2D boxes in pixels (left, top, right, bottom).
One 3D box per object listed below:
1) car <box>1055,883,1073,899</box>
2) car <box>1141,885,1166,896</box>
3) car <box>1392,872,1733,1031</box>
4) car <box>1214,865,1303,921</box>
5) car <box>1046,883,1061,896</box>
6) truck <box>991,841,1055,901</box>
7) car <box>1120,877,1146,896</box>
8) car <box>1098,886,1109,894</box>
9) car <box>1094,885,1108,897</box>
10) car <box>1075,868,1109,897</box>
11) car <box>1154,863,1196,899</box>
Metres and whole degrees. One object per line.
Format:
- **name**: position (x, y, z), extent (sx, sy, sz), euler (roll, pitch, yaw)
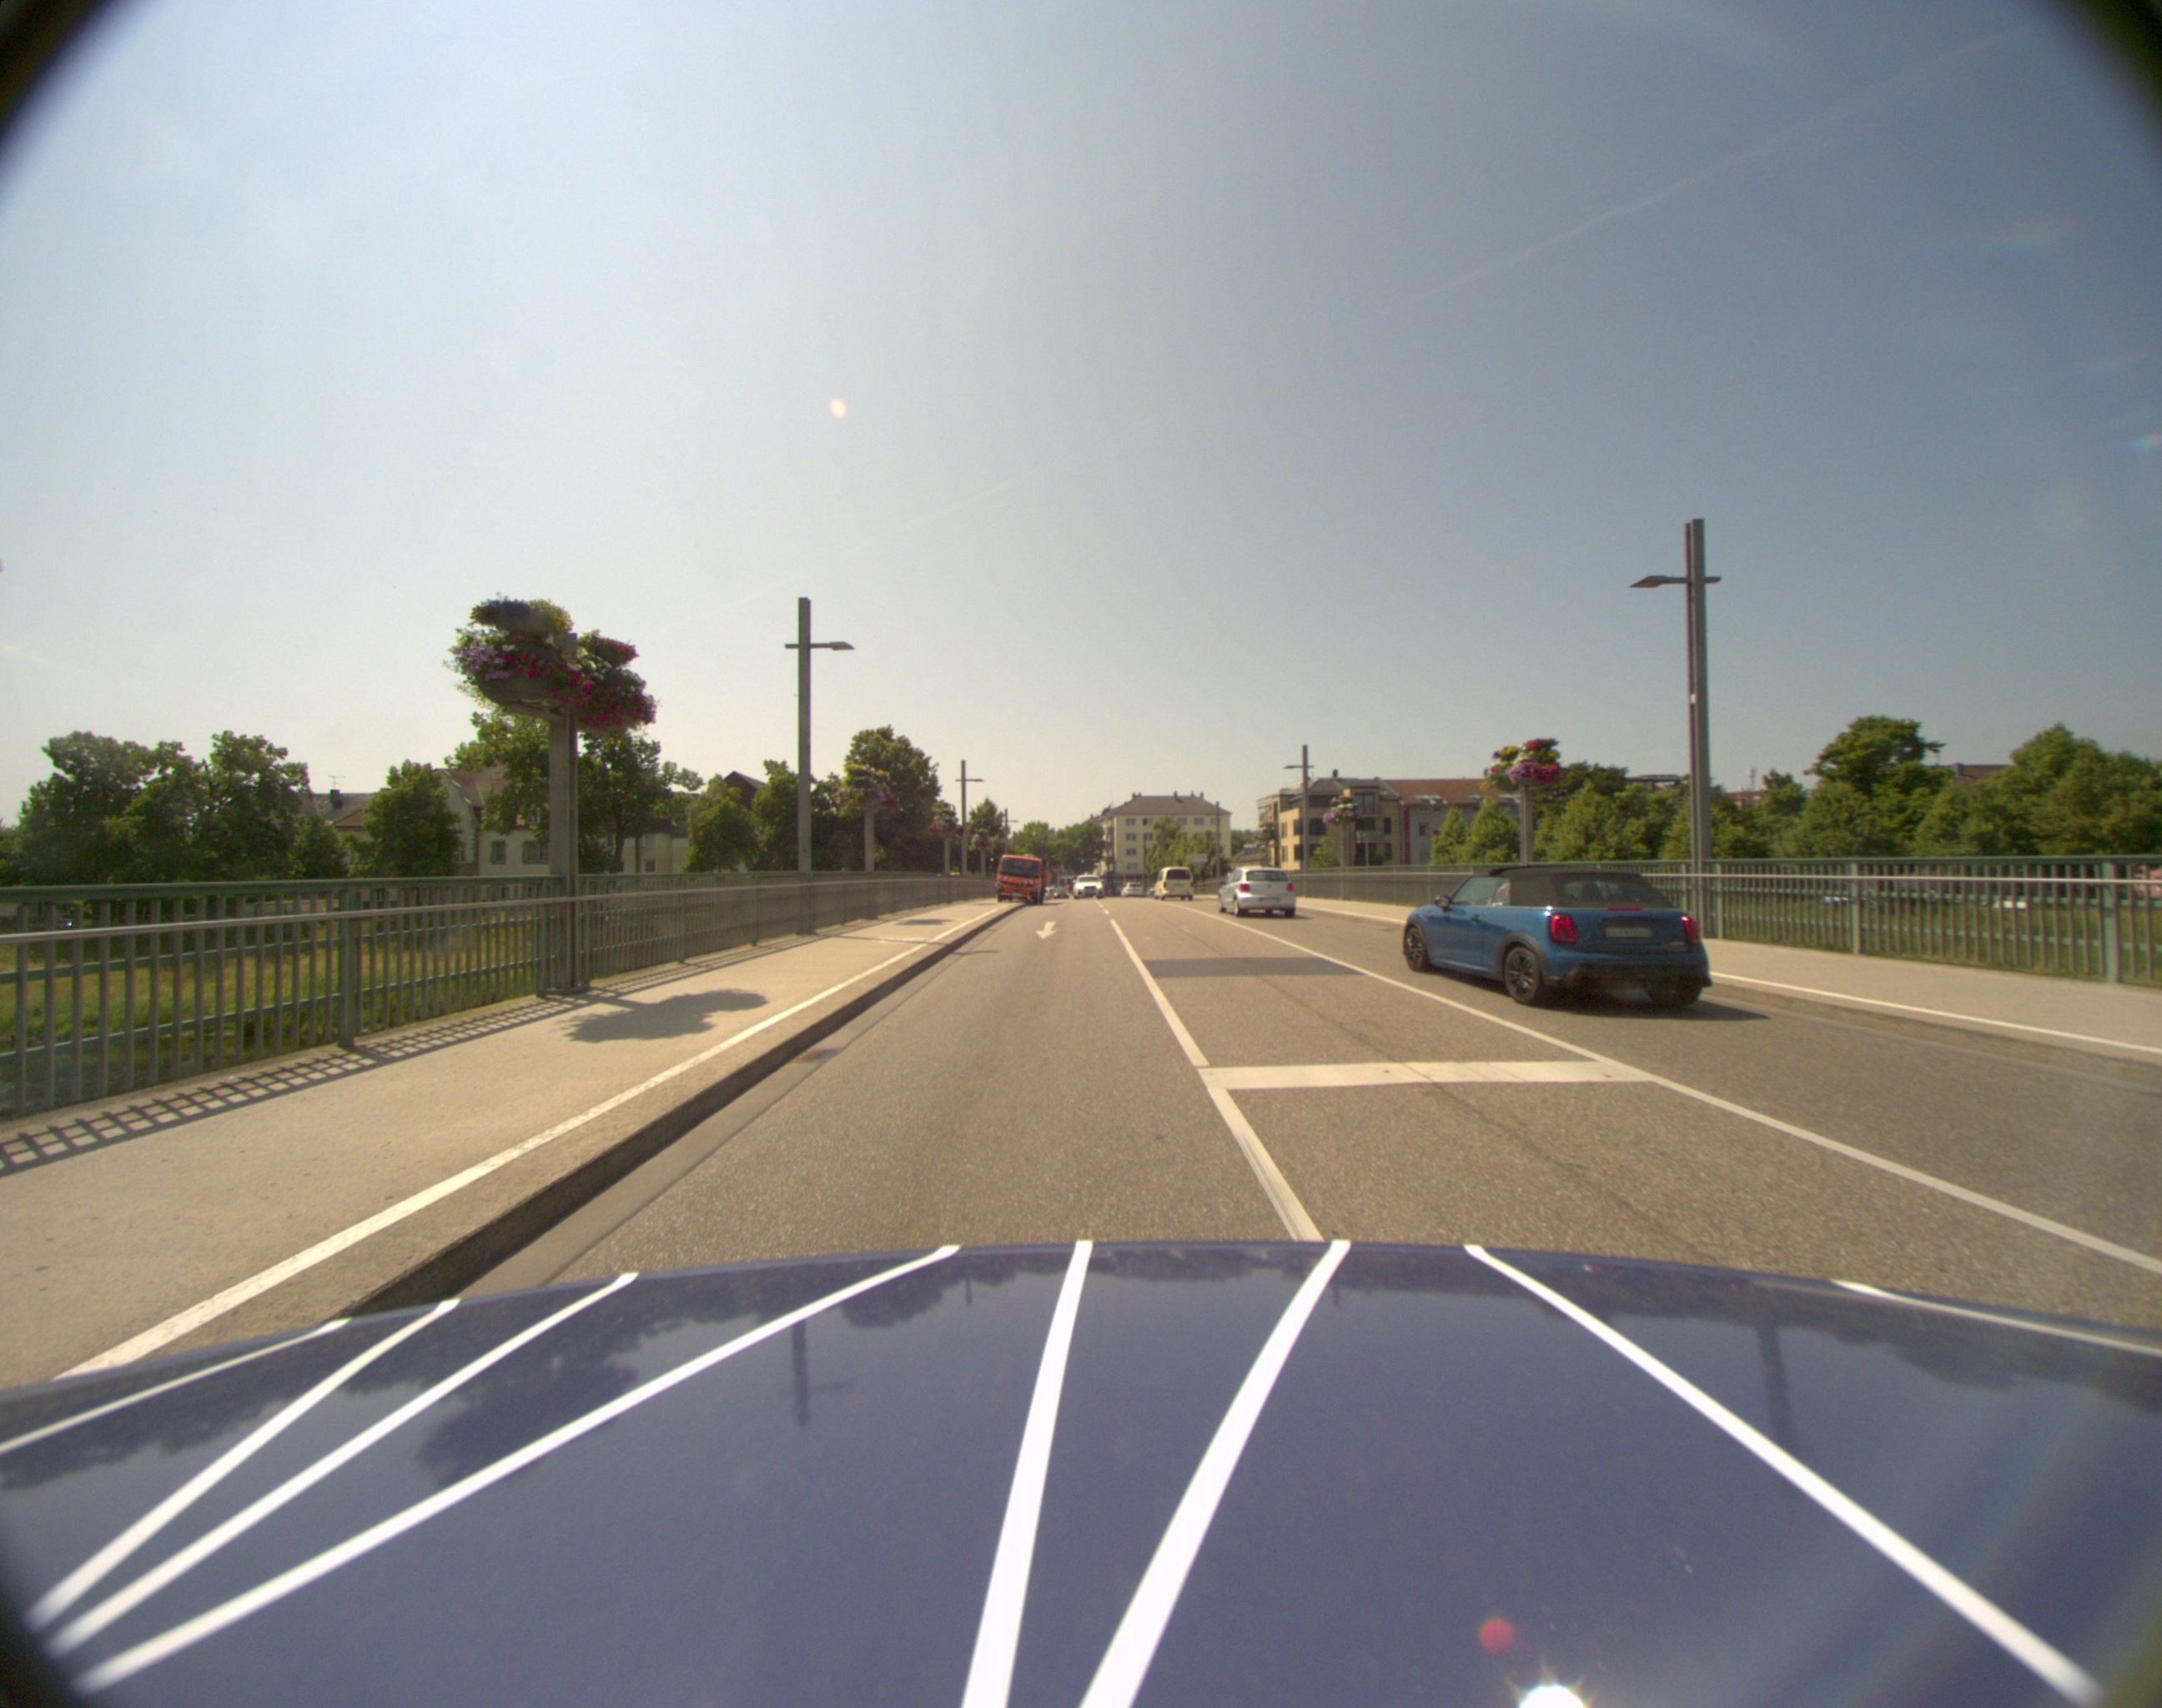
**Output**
- **car**: position (-1.858, 4.004, 82.512), extent (1.776, 1.479, 3.999), euler (-2, 0, -3)
- **car**: position (11.954, 6.070, 125.690), extent (3.698, 1.724, 1.893), euler (2, -1, -10)
- **car**: position (5.261, 0.956, 8.974), extent (1.661, 1.432, 3.756), euler (0, -1, 0)
- **car**: position (5.231, 1.100, 22.867), extent (1.764, 1.510, 4.001), euler (1, -1, 1)
- **car**: position (-4.229, 5.479, 117.341), extent (1.842, 1.848, 4.663), euler (-4, -2, -6)
- **truck**: position (-2.732, 0.878, 37.378), extent (2.612, 2.674, 5.825), euler (-1, -2, 0)
- **car**: position (4.798, 2.963, 70.657), extent (1.849, 1.424, 4.713), euler (-7, 0, -1)
- **car**: position (4.310, 6.928, 146.015), extent (1.587, 1.450, 3.938), euler (-1, -1, -8)
- **car**: position (2.639, 4.873, 100.728), extent (1.703, 1.350, 4.456), euler (0, -1, -1)
- **car**: position (0.703, 1.884, 51.142), extent (1.999, 1.739, 4.445), euler (-2, -1, -2)
- **car**: position (5.246, 1.485, 42.948), extent (1.763, 1.846, 4.647), euler (-2, -1, 1)
